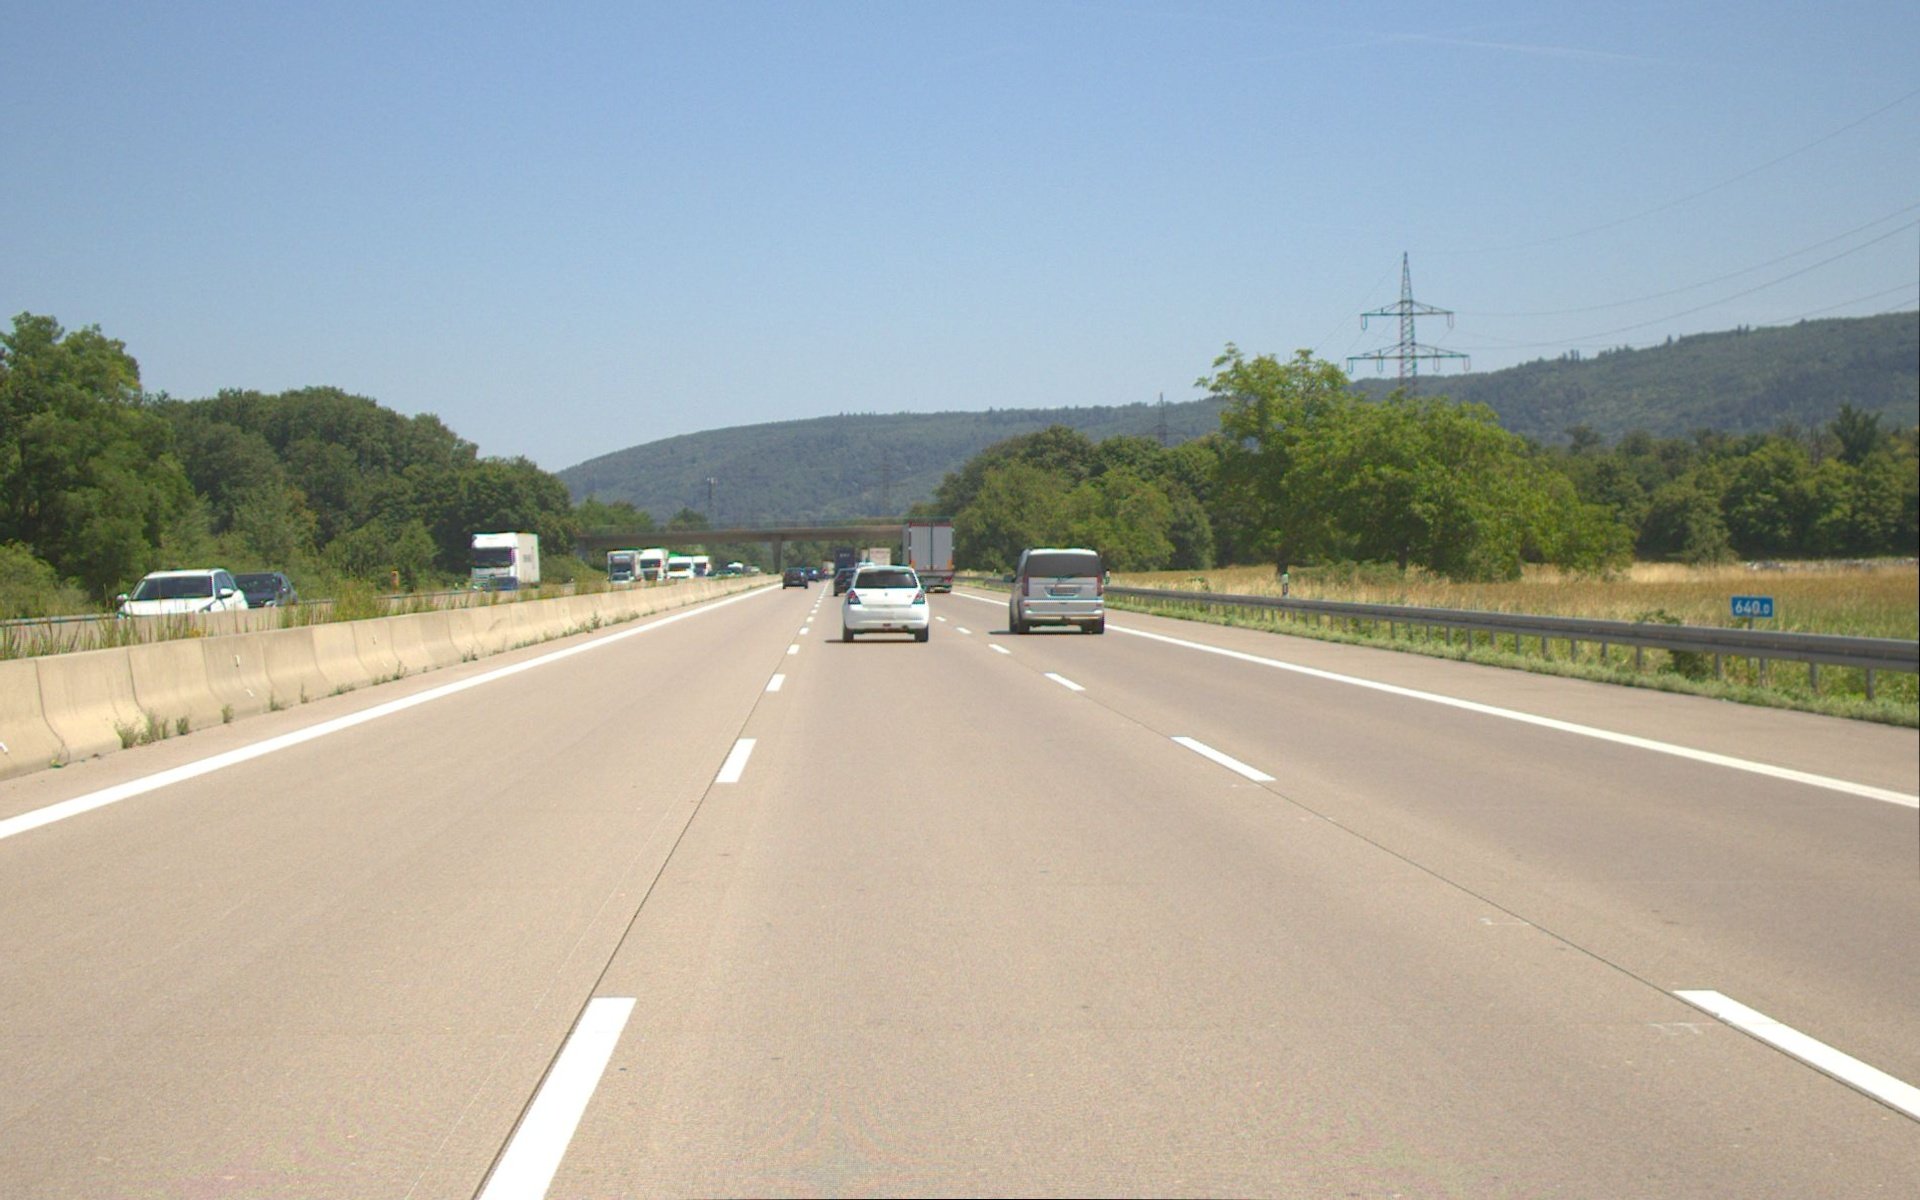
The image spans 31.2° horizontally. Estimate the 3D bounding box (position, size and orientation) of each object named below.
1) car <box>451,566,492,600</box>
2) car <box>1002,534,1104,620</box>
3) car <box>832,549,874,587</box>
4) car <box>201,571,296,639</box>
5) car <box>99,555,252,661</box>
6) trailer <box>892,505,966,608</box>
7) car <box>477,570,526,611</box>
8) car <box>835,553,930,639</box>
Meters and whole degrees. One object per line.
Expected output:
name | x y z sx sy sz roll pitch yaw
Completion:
car | -27.987 -0.974 197.107 1.993 1.842 4.001 2 1 -4
car | 2.047 -0.526 76.802 1.993 1.842 4.001 1 1 -2
car | -5.532 -1.664 177.482 1.993 1.842 4.001 2 1 -3
car | -19.909 0.116 96.378 1.993 1.831 4.817 0 1 -4
car | -14.197 0.113 62.426 1.906 1.853 4.000 0 1 -1
trailer | -1.866 -2.517 200.169 3.720 5.791 12.163 0 1 -3
car | -21.809 -0.447 163.537 1.993 1.842 4.001 2 1 -4
car | -1.591 -0.103 69.120 1.819 1.656 4.001 0 1 -2
